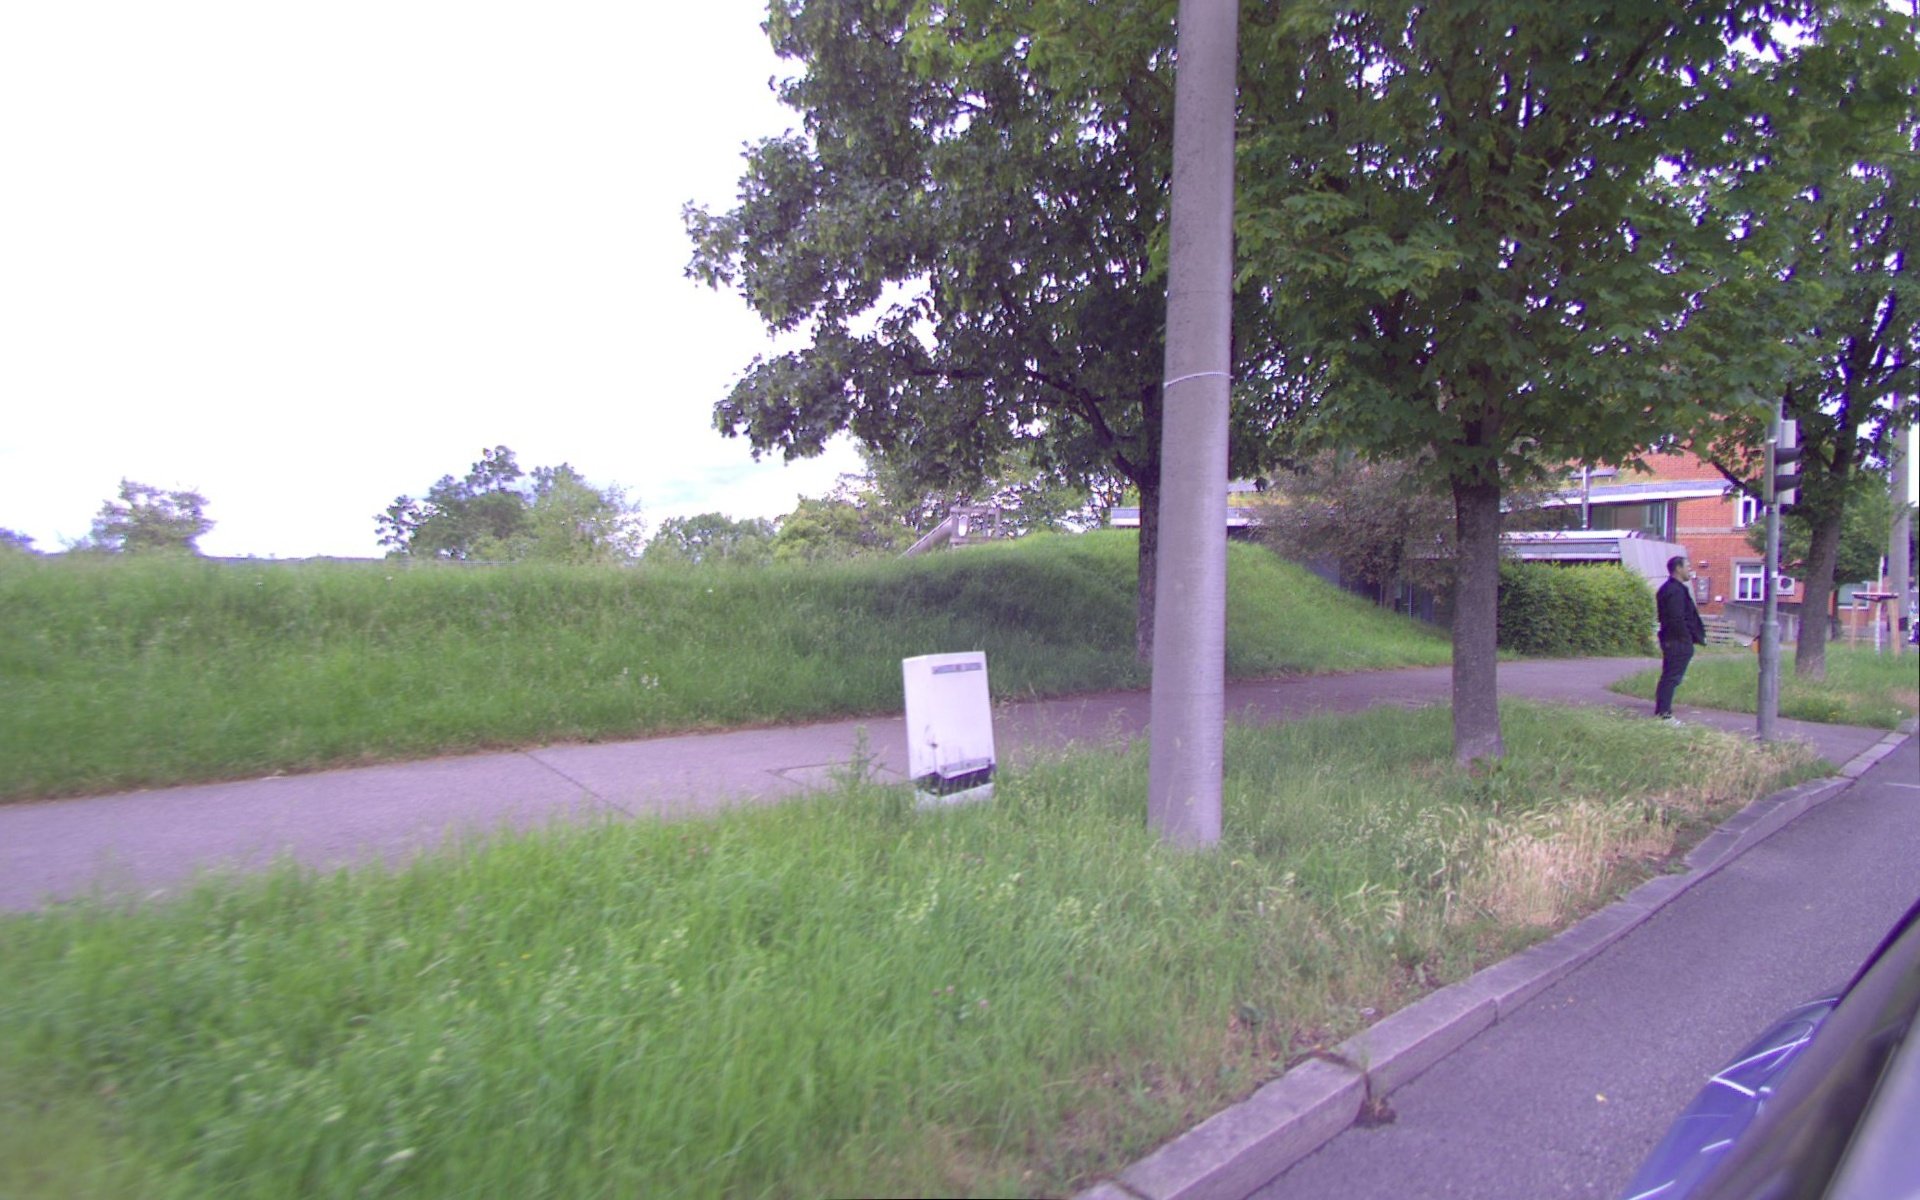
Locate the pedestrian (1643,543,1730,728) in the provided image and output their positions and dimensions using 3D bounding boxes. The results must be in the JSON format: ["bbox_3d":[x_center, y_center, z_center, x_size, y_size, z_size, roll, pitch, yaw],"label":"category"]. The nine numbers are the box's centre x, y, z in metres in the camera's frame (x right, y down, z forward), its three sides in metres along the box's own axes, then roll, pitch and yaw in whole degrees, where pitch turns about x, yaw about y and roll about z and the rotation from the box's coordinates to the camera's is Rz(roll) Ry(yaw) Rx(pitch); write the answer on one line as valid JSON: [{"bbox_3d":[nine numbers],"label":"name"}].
[{"bbox_3d":[7.710,0.360,10.741,0.642,1.879,0.662,1,0,43],"label":"pedestrian"}]
